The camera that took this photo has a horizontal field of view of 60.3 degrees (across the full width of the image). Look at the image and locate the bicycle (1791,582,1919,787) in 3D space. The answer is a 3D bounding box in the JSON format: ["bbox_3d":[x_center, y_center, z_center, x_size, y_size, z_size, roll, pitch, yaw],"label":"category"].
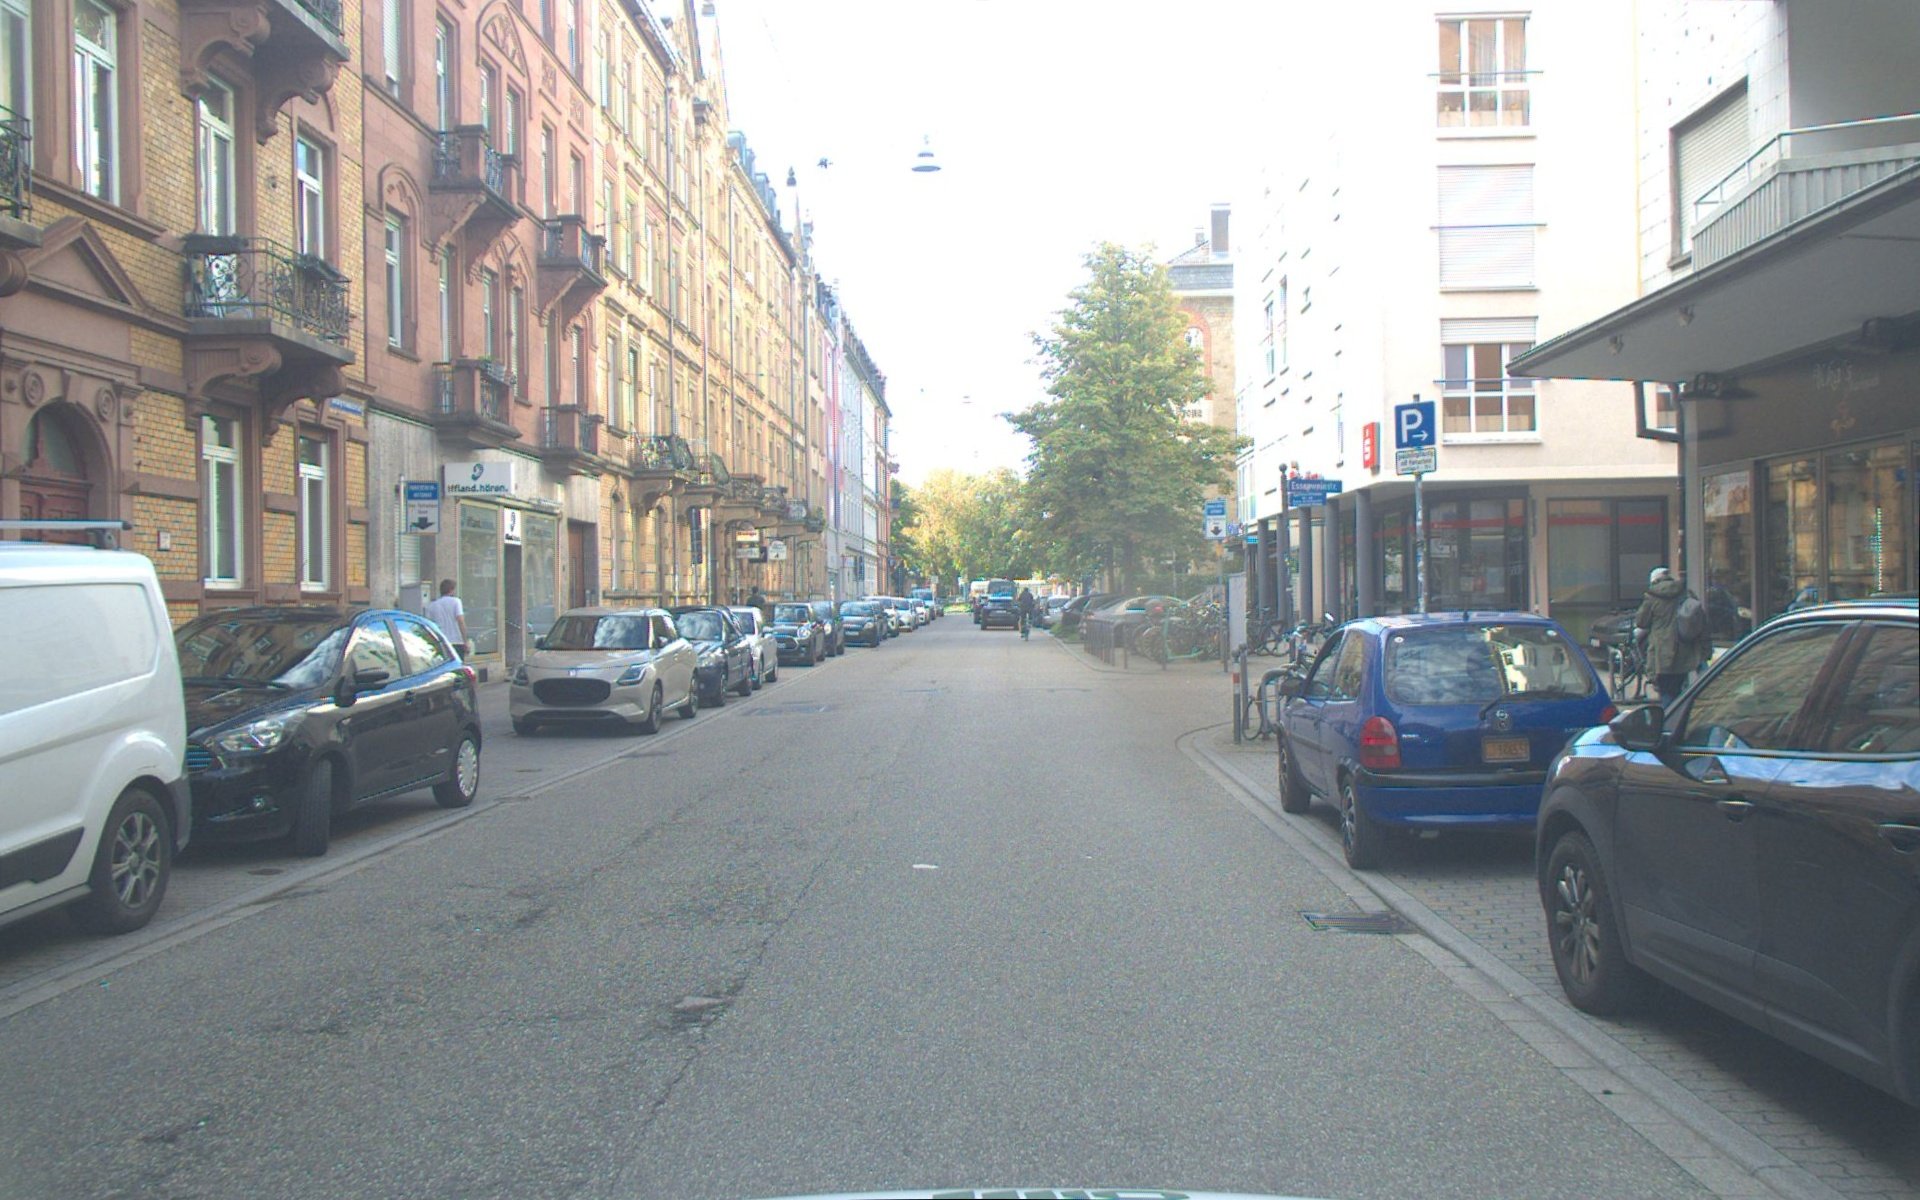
[{"bbox_3d":[6.722,0.547,11.233,0.899,1.313,2.500,-3,0,2],"label":"bicycle"}]

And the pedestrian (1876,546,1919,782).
[{"bbox_3d":[6.850,0.425,11.361,0.630,1.616,0.781,-3,0,3],"label":"pedestrian"}]

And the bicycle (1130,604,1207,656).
[{"bbox_3d":[4.926,0.706,39.079,1.728,1.138,0.412,-3,0,4],"label":"bicycle"}]

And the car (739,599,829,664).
[{"bbox_3d":[-4.094,0.709,38.949,1.655,1.411,3.867,0,1,1],"label":"car"}]

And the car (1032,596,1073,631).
[{"bbox_3d":[4.544,0.643,81.751,1.890,1.667,4.001,0,0,2],"label":"car"}]

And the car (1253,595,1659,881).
[{"bbox_3d":[2.996,0.732,10.824,1.562,1.464,4.031,-2,0,2],"label":"car"}]

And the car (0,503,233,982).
[{"bbox_3d":[-4.765,0.574,6.384,1.880,1.904,4.437,0,0,1],"label":"car"}]

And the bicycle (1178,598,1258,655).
[{"bbox_3d":[5.758,0.585,36.886,1.739,1.166,0.409,-4,0,-19],"label":"bicycle"}]

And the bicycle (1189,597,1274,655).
[{"bbox_3d":[5.965,0.572,36.378,1.731,1.166,0.411,-3,0,-5],"label":"bicycle"}]

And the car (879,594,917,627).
[{"bbox_3d":[-2.968,0.500,79.631,1.655,1.577,3.867,0,0,1],"label":"car"}]

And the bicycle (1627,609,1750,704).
[{"bbox_3d":[8.820,0.672,20.110,0.436,1.083,1.924,-1,-1,-6],"label":"bicycle"}]

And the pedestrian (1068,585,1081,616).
[{"bbox_3d":[8.584,0.031,124.112,0.975,2.269,0.899,0,0,2],"label":"pedestrian"}]

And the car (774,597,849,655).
[{"bbox_3d":[-3.989,0.663,44.908,1.655,1.462,3.867,0,1,1],"label":"car"}]

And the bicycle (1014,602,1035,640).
[{"bbox_3d":[2.242,0.725,57.621,0.703,1.296,1.884,0,0,2],"label":"bicycle"}]

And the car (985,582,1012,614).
[{"bbox_3d":[2.518,-0.159,109.644,1.745,2.055,3.888,0,0,0],"label":"car"}]

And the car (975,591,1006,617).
[{"bbox_3d":[1.755,0.206,96.549,1.760,1.497,3.888,0,0,0],"label":"car"}]

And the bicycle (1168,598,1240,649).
[{"bbox_3d":[6.107,0.589,41.389,1.696,1.179,0.500,-3,0,3],"label":"bicycle"}]

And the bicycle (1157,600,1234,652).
[{"bbox_3d":[5.746,0.633,40.403,1.759,1.179,0.499,-3,0,28],"label":"bicycle"}]

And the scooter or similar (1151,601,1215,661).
[{"bbox_3d":[4.565,0.640,33.829,1.184,1.167,0.378,-3,1,33],"label":"scooter or similar"}]

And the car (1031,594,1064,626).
[{"bbox_3d":[4.530,0.512,86.285,1.655,1.577,3.689,0,0,2],"label":"car"}]

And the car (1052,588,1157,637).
[{"bbox_3d":[5.631,0.482,64.204,3.903,1.668,2.001,-3,0,6],"label":"car"}]

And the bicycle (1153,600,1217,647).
[{"bbox_3d":[6.062,0.633,44.631,1.629,1.179,0.557,-3,0,3],"label":"bicycle"}]

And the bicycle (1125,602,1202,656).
[{"bbox_3d":[4.919,0.698,40.014,1.757,1.179,0.500,-3,0,4],"label":"bicycle"}]

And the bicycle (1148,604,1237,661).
[{"bbox_3d":[4.838,0.677,34.436,1.731,1.075,0.411,-3,0,-4],"label":"bicycle"}]

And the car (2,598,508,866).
[{"bbox_3d":[-4.548,0.764,11.386,1.706,1.509,3.984,0,0,1],"label":"car"}]

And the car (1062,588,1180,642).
[{"bbox_3d":[5.552,0.501,57.054,3.903,1.611,2.001,-3,0,6],"label":"car"}]

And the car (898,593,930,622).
[{"bbox_3d":[-2.627,0.429,94.715,1.655,1.577,3.867,0,0,1],"label":"car"}]

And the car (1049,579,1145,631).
[{"bbox_3d":[5.760,0.212,69.529,3.903,1.712,1.740,-3,8,5],"label":"car"}]

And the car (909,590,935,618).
[{"bbox_3d":[-2.541,0.279,111.247,1.655,1.853,3.867,0,0,1],"label":"car"}]

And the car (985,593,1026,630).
[{"bbox_3d":[2.222,0.574,81.155,1.924,1.771,4.042,-1,-1,1],"label":"car"}]

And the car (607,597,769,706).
[{"bbox_3d":[-4.154,0.738,25.823,1.705,1.509,3.985,0,1,2],"label":"car"}]

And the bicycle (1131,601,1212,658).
[{"bbox_3d":[4.730,0.650,36.975,1.739,1.166,0.409,-4,0,-19],"label":"bicycle"}]

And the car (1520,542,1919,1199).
[{"bbox_3d":[3.125,0.638,4.776,1.653,1.604,3.902,-2,0,0],"label":"car"}]

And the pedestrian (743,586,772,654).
[{"bbox_3d":[-5.715,0.553,46.671,0.674,1.886,0.932,0,0,3],"label":"pedestrian"}]

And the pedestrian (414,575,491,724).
[{"bbox_3d":[-6.429,0.613,20.977,0.716,1.821,0.771,2,0,-5],"label":"pedestrian"}]

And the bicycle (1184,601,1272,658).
[{"bbox_3d":[5.679,0.619,35.061,1.729,1.106,0.650,-3,0,3],"label":"bicycle"}]

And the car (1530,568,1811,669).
[{"bbox_3d":[12.679,0.305,29.704,4.271,1.658,1.809,-1,2,2],"label":"car"}]

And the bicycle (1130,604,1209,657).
[{"bbox_3d":[4.850,0.711,38.336,1.728,1.118,0.412,-3,0,4],"label":"bicycle"}]

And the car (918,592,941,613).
[{"bbox_3d":[-2.330,0.201,126.321,1.655,1.577,3.867,0,0,1],"label":"car"}]

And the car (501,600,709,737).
[{"bbox_3d":[-4.363,0.779,20.912,1.706,1.509,3.984,0,1,1],"label":"car"}]

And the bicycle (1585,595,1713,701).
[{"bbox_3d":[8.305,0.569,20.032,0.523,1.212,1.931,-1,-1,-7],"label":"bicycle"}]

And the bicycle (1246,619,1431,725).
[{"bbox_3d":[4.227,0.801,18.567,1.930,1.114,0.685,-3,-1,44],"label":"bicycle"}]

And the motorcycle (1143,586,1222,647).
[{"bbox_3d":[6.218,0.459,46.319,2.105,1.557,0.686,-3,0,6],"label":"motorcycle"}]

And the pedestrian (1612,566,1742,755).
[{"bbox_3d":[6.375,0.527,14.745,0.807,1.616,0.781,-1,0,3],"label":"pedestrian"}]

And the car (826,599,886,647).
[{"bbox_3d":[-3.449,0.736,55.252,1.655,1.393,3.867,3,1,1],"label":"car"}]

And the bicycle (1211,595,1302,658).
[{"bbox_3d":[6.079,0.543,34.005,1.729,1.182,0.650,-3,0,3],"label":"bicycle"}]

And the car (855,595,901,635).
[{"bbox_3d":[-3.330,0.592,67.638,1.655,1.577,3.867,1,0,0],"label":"car"}]

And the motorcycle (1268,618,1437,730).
[{"bbox_3d":[4.166,0.781,17.630,1.637,1.114,0.604,-3,-1,44],"label":"motorcycle"}]

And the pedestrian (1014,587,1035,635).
[{"bbox_3d":[2.248,0.374,57.716,0.703,1.679,0.930,0,0,2],"label":"pedestrian"}]

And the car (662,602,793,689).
[{"bbox_3d":[-4.135,0.776,29.956,1.655,1.411,3.868,0,1,2],"label":"car"}]

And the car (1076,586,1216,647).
[{"bbox_3d":[5.431,0.490,48.561,3.691,1.573,1.727,-3,-1,-9],"label":"car"}]

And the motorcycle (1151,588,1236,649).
[{"bbox_3d":[6.095,0.476,43.285,2.105,1.459,0.766,-3,0,6],"label":"motorcycle"}]

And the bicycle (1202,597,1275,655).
[{"bbox_3d":[6.031,0.567,35.838,1.464,1.166,0.411,-3,0,1],"label":"bicycle"}]

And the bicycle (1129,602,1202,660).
[{"bbox_3d":[4.449,0.672,35.809,1.466,1.166,0.411,-3,0,-4],"label":"bicycle"}]

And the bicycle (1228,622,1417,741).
[{"bbox_3d":[3.637,0.807,16.681,1.740,1.114,0.679,-3,-1,44],"label":"bicycle"}]
